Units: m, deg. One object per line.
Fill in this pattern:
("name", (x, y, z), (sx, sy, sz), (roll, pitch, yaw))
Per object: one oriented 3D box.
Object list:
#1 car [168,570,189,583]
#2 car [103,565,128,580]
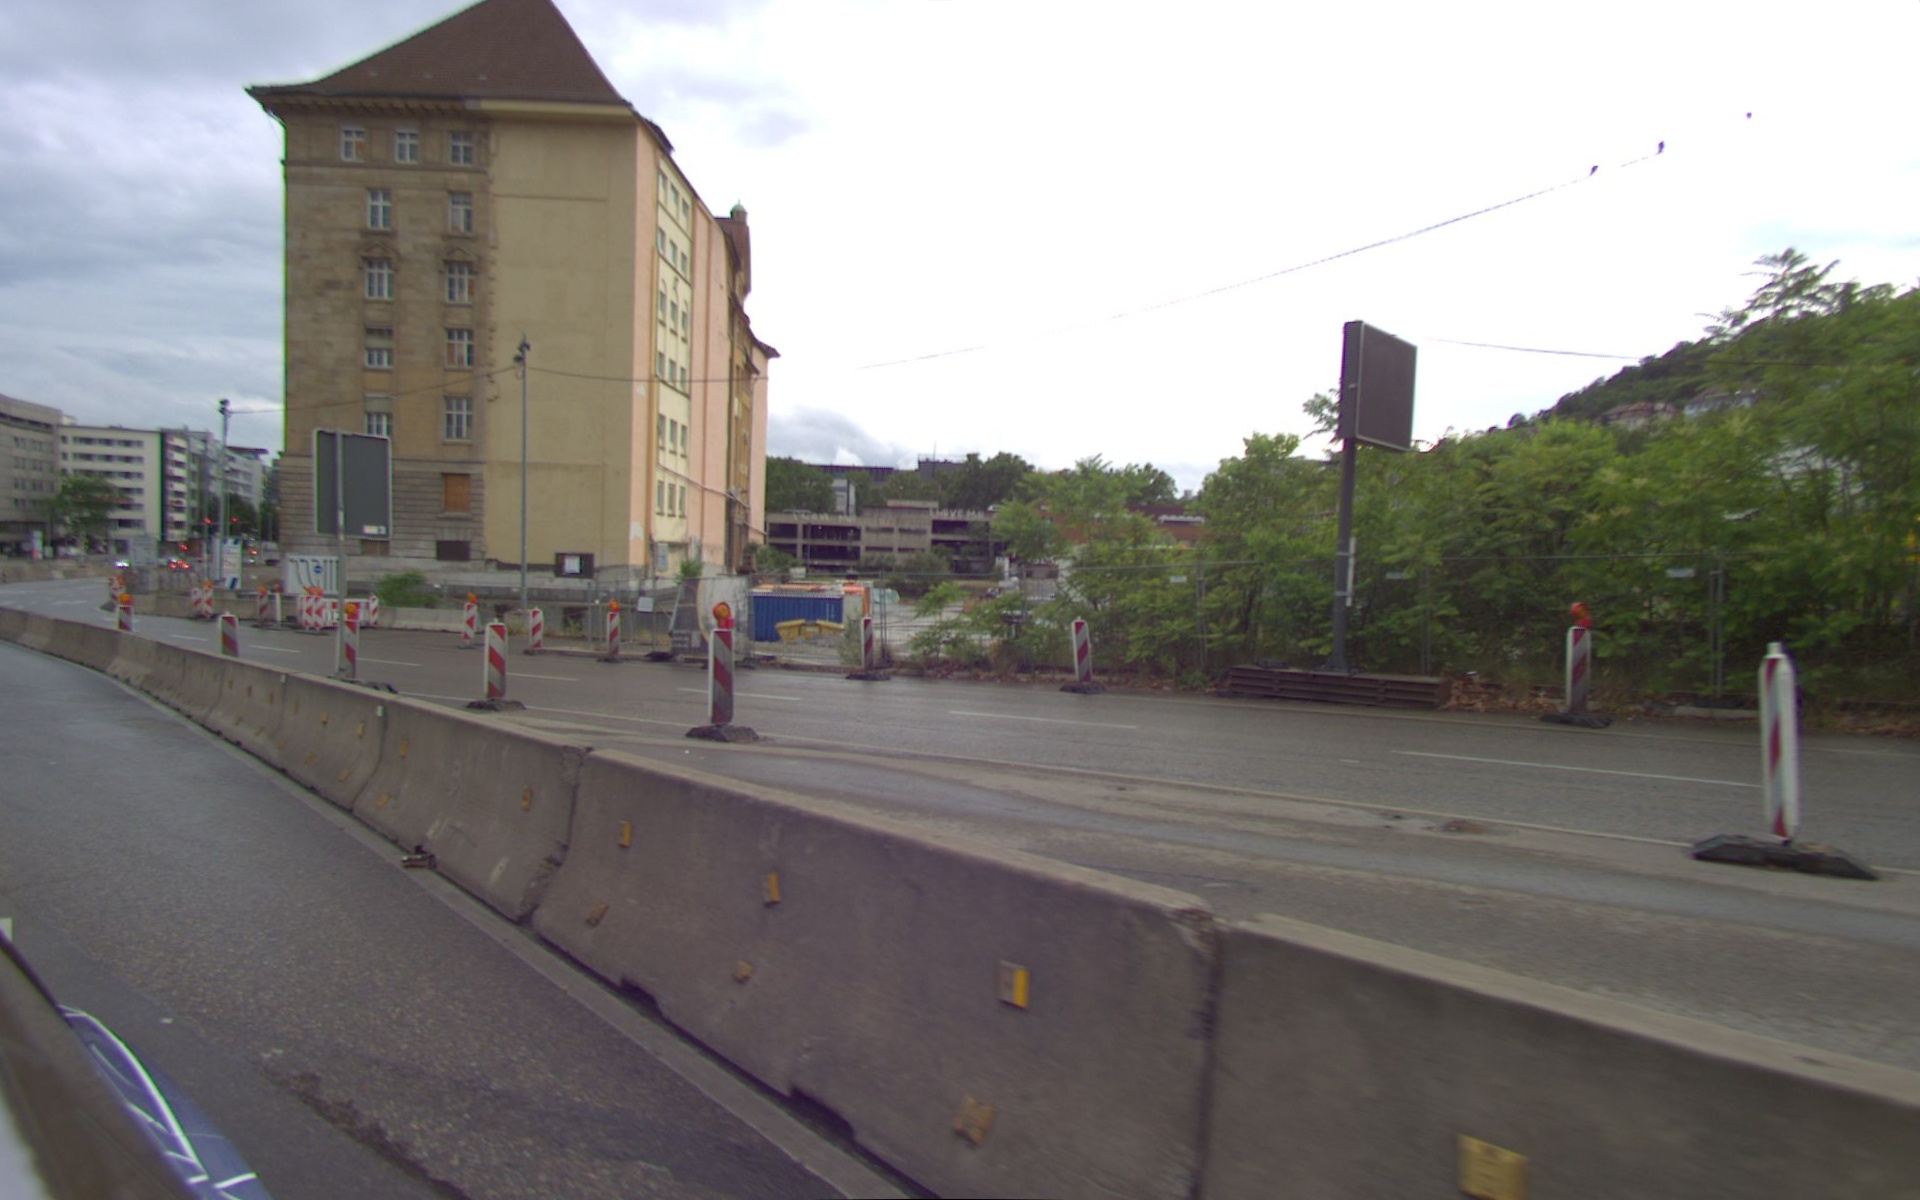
("car", (-102.417, -3.049, 132.670), (1.742, 1.532, 4.400), (1, 2, -33))
("car", (-116.651, -3.784, 139.846), (1.966, 2.029, 4.012), (1, -1, -30))
